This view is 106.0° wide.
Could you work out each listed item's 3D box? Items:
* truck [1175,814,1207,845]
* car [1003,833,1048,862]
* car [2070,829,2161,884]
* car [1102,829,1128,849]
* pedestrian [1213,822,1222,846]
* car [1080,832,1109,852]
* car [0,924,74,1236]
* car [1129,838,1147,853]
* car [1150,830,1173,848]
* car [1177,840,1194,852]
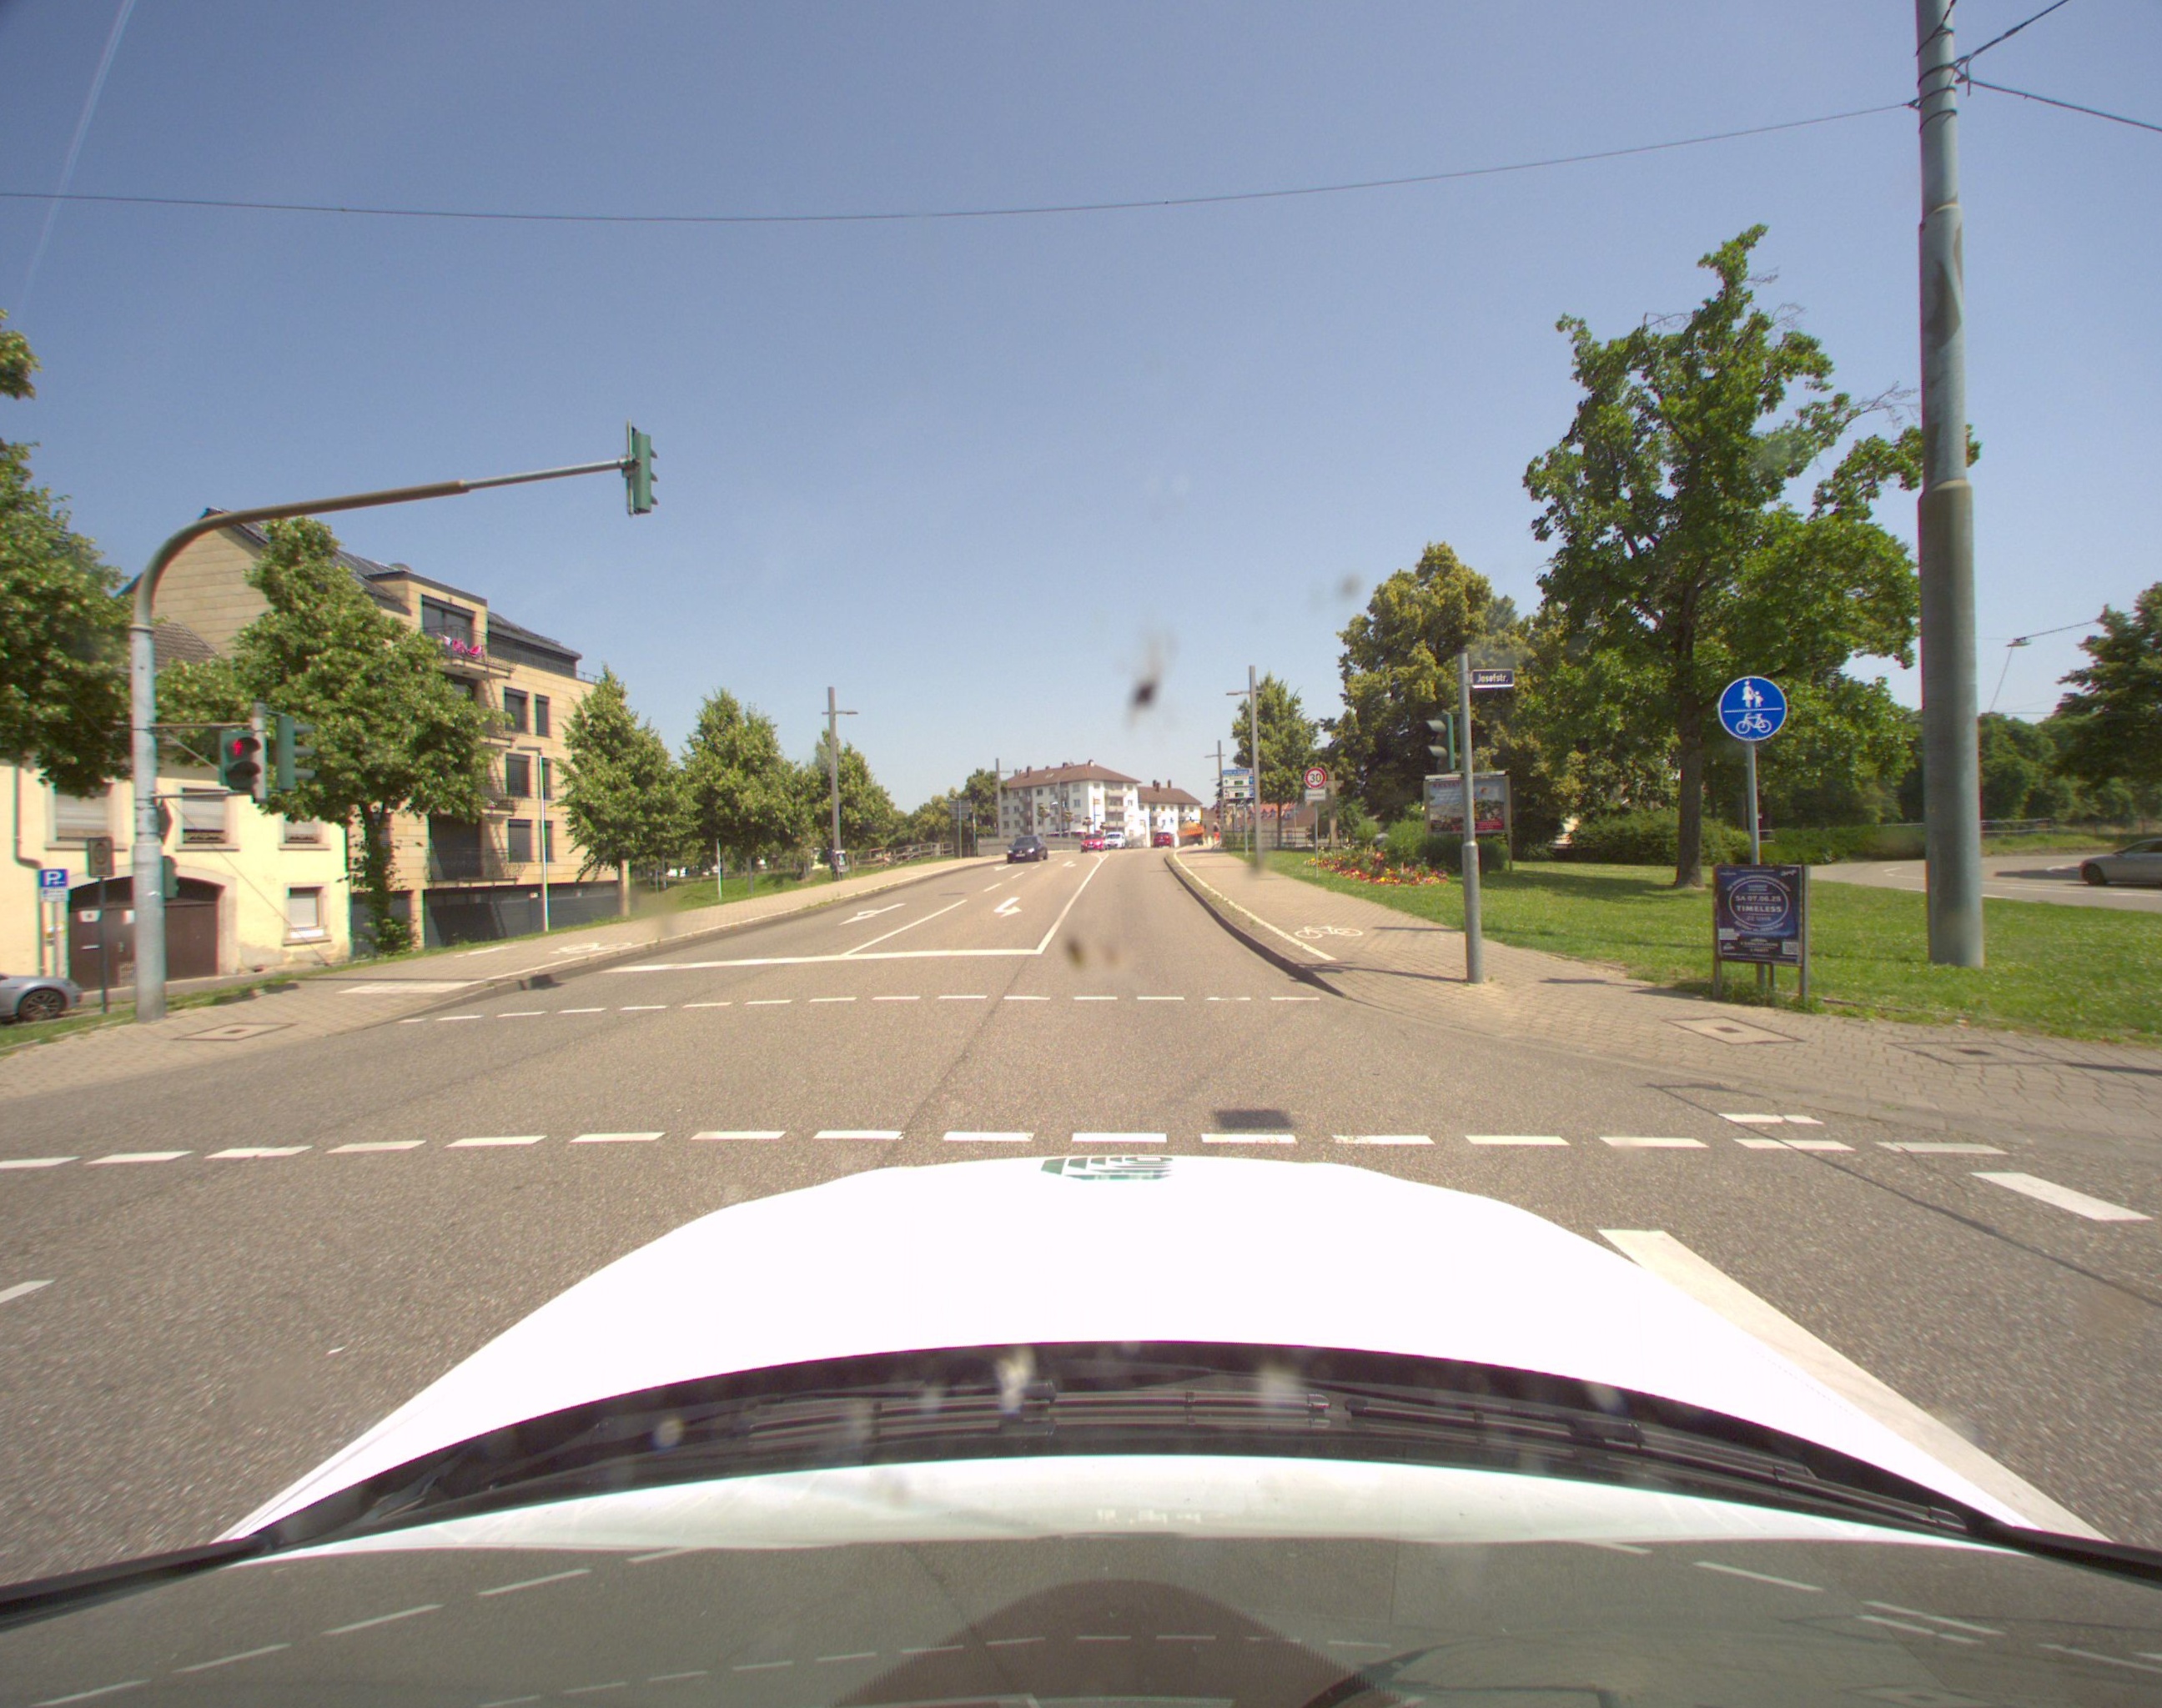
[{"bbox_3d":[10.425,-2.237,76.626,2.589,2.691,5.840,-2,1,10],"label":"truck"},{"bbox_3d":[-3.039,-0.350,45.675,1.704,1.485,4.040,-1,0,8],"label":"car"},{"bbox_3d":[30.395,0.063,22.402,1.878,1.499,4.550,-1,0,17],"label":"car"},{"bbox_3d":[3.466,-1.564,83.018,1.825,1.860,4.678,-4,1,11],"label":"car"},{"bbox_3d":[11.088,-1.639,66.326,0.545,1.960,0.672,-2,-1,-1],"label":"pedestrian"},{"bbox_3d":[1.095,-0.938,64.111,1.637,1.464,3.871,-2,0,9],"label":"car"},{"bbox_3d":[-5.922,1.104,1.952,1.829,1.399,4.051,-4,0,2],"label":"car"},{"bbox_3d":[7.188,-1.105,102.505,1.726,1.640,3.933,-4,1,11],"label":"car"},{"bbox_3d":[8.101,-1.478,81.565,1.979,1.613,4.352,-3,0,8],"label":"car"},{"bbox_3d":[14.443,-1.097,112.359,2.026,1.503,4.429,-1,0,10],"label":"car"}]
